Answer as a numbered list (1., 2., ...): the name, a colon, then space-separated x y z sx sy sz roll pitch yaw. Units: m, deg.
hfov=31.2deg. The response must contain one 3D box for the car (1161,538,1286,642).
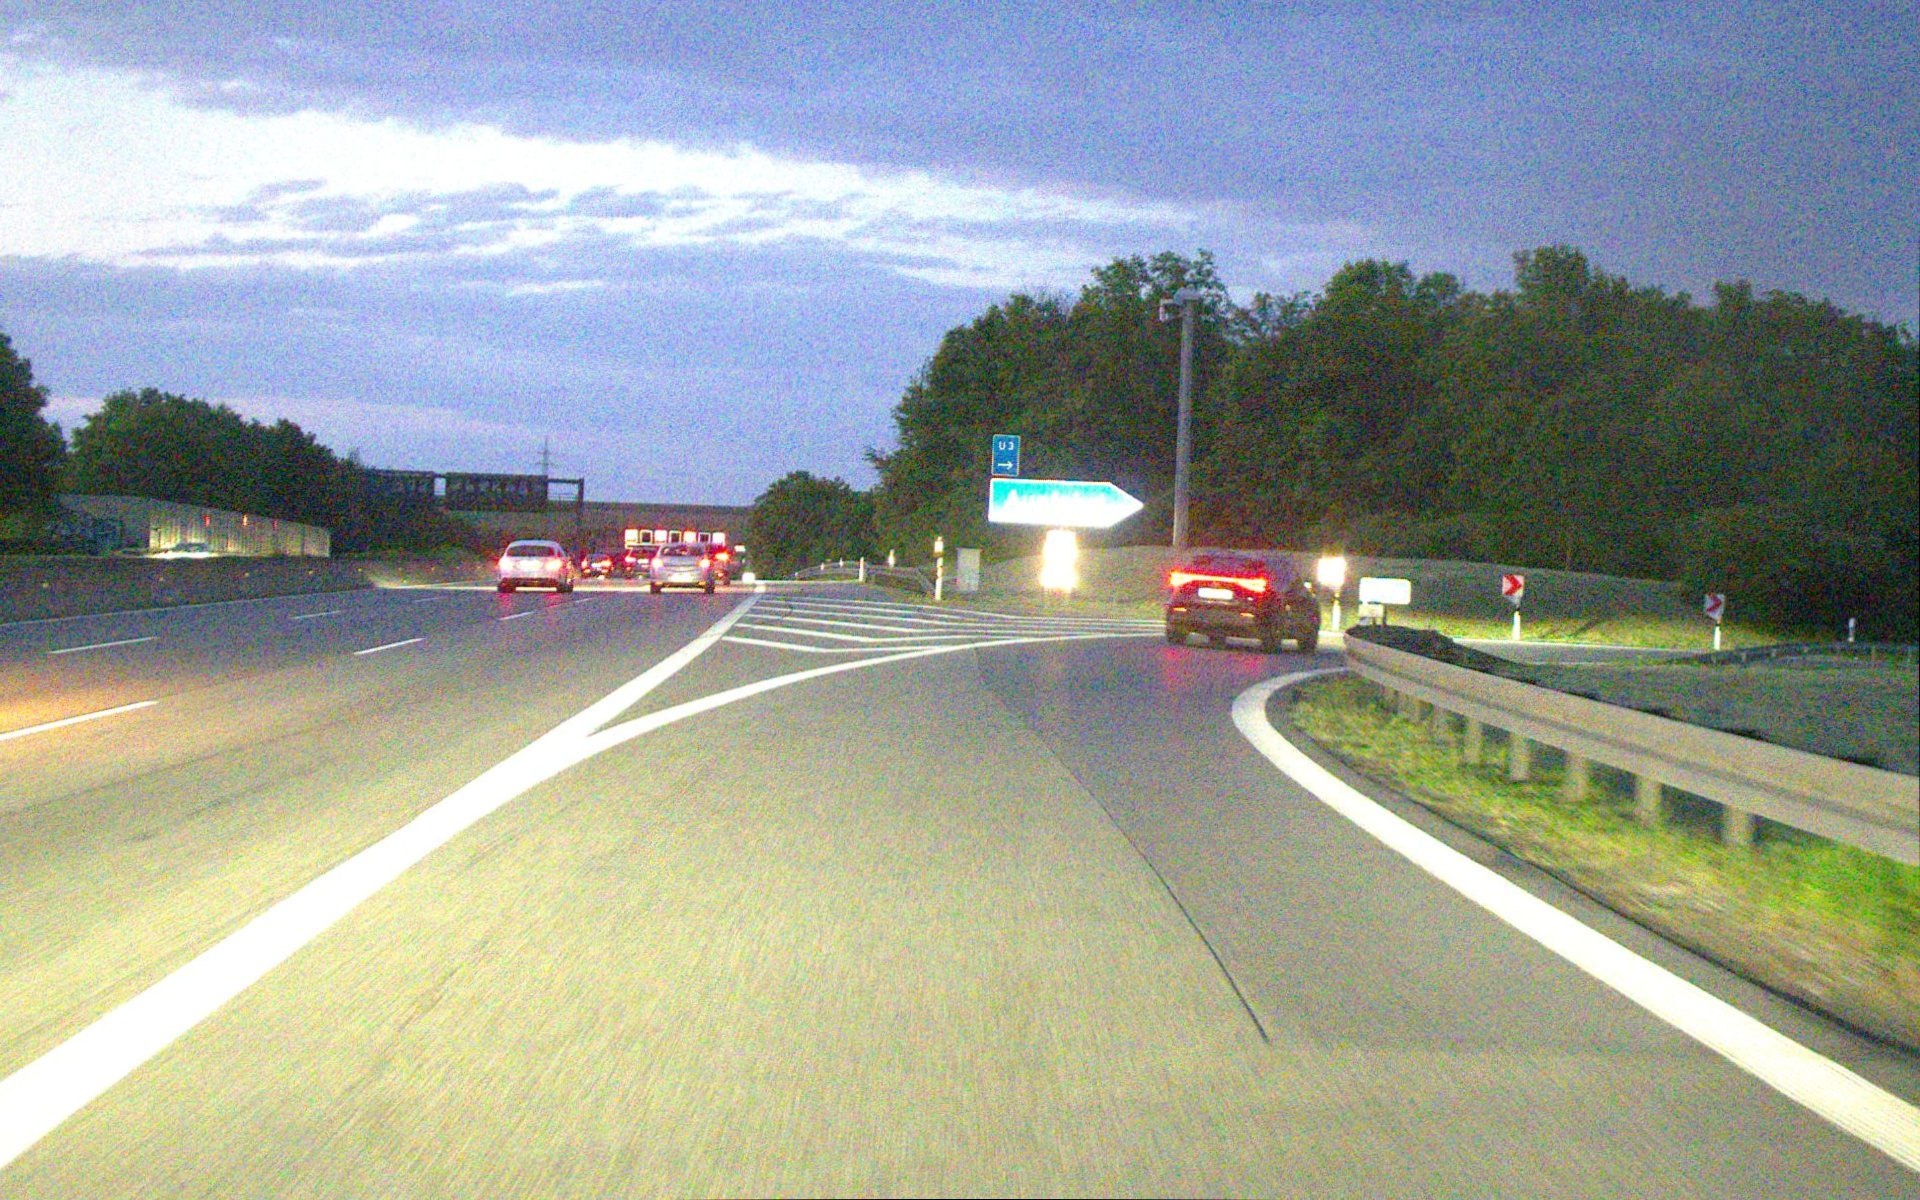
1. car: 4.404 -0.204 57.713 1.994 1.653 4.314 1 1 4

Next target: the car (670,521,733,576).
1. car: -9.569 -1.937 127.612 1.993 2.007 4.000 0 2 1

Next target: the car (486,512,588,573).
1. car: -11.598 -1.595 94.516 1.994 1.637 4.554 0 1 3

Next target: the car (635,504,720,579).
1. car: -7.739 -1.622 94.421 1.993 2.007 4.000 1 1 0

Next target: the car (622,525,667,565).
1. car: -16.026 -2.804 174.713 2.071 2.007 4.001 0 1 -2

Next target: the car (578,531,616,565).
1. car: -21.710 -3.128 205.703 2.104 2.007 4.001 -1 1 -5
